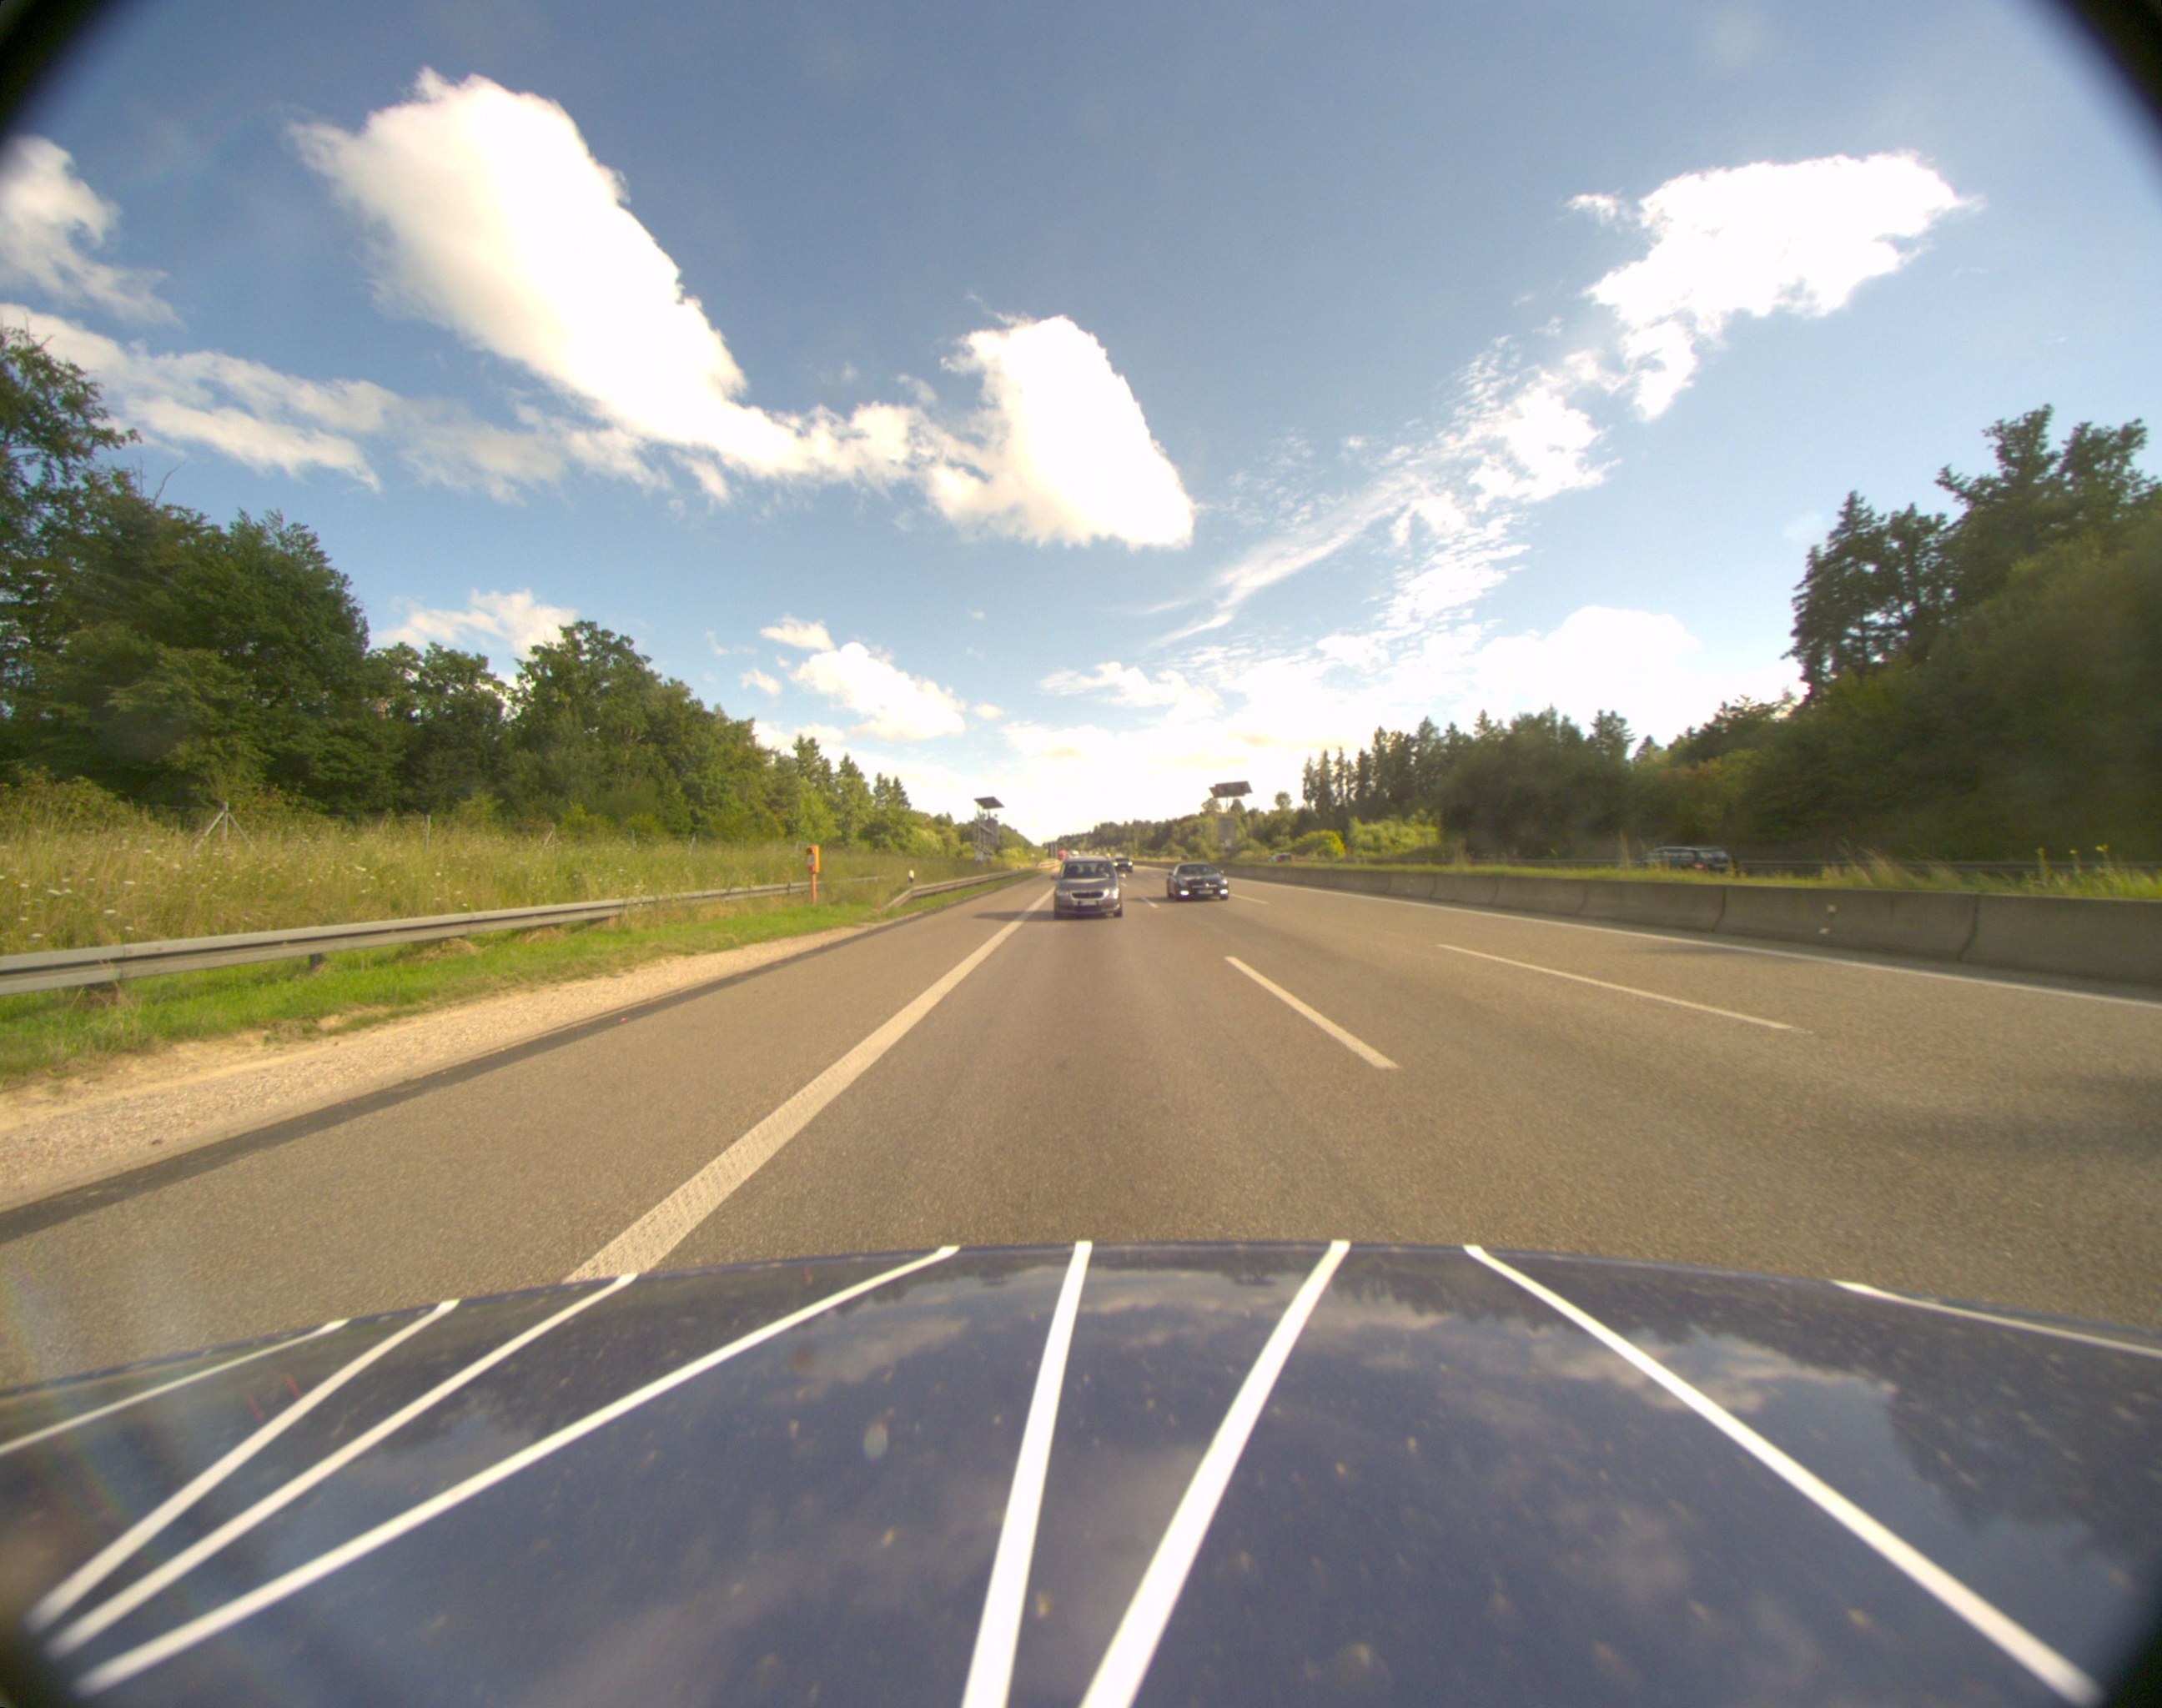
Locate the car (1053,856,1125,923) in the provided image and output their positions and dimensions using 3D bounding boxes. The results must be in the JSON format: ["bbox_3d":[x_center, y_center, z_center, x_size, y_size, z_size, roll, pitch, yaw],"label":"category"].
[{"bbox_3d":[0.242,0.897,20.998,1.742,1.608,4.083,-2,0,1],"label":"car"}]

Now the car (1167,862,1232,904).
[{"bbox_3d":[4.174,0.990,27.339,1.749,1.276,4.199,-2,0,1],"label":"car"}]

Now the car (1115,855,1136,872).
[{"bbox_3d":[4.620,0.961,79.035,1.961,1.608,4.388,-2,0,1],"label":"car"}]

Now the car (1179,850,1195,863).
[{"bbox_3d":[17.291,0.365,123.629,1.998,2.002,4.071,-2,0,0],"label":"car"}]

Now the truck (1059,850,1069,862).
[{"bbox_3d":[-5.839,0.719,259.289,2.880,3.871,8.958,-2,0,0],"label":"truck"}]

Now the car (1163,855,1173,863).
[{"bbox_3d":[20.618,1.200,179.841,1.931,1.894,4.429,-2,0,0],"label":"car"}]

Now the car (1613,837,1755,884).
[{"bbox_3d":[23.277,0.232,29.612,1.884,1.618,4.570,-2,0,0],"label":"car"}]

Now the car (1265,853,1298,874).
[{"bbox_3d":[19.692,0.915,74.710,1.998,1.870,4.437,-2,0,0],"label":"car"}]

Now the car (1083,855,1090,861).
[{"bbox_3d":[1.636,1.068,211.880,1.938,1.772,4.236,-2,0,1],"label":"car"}]
